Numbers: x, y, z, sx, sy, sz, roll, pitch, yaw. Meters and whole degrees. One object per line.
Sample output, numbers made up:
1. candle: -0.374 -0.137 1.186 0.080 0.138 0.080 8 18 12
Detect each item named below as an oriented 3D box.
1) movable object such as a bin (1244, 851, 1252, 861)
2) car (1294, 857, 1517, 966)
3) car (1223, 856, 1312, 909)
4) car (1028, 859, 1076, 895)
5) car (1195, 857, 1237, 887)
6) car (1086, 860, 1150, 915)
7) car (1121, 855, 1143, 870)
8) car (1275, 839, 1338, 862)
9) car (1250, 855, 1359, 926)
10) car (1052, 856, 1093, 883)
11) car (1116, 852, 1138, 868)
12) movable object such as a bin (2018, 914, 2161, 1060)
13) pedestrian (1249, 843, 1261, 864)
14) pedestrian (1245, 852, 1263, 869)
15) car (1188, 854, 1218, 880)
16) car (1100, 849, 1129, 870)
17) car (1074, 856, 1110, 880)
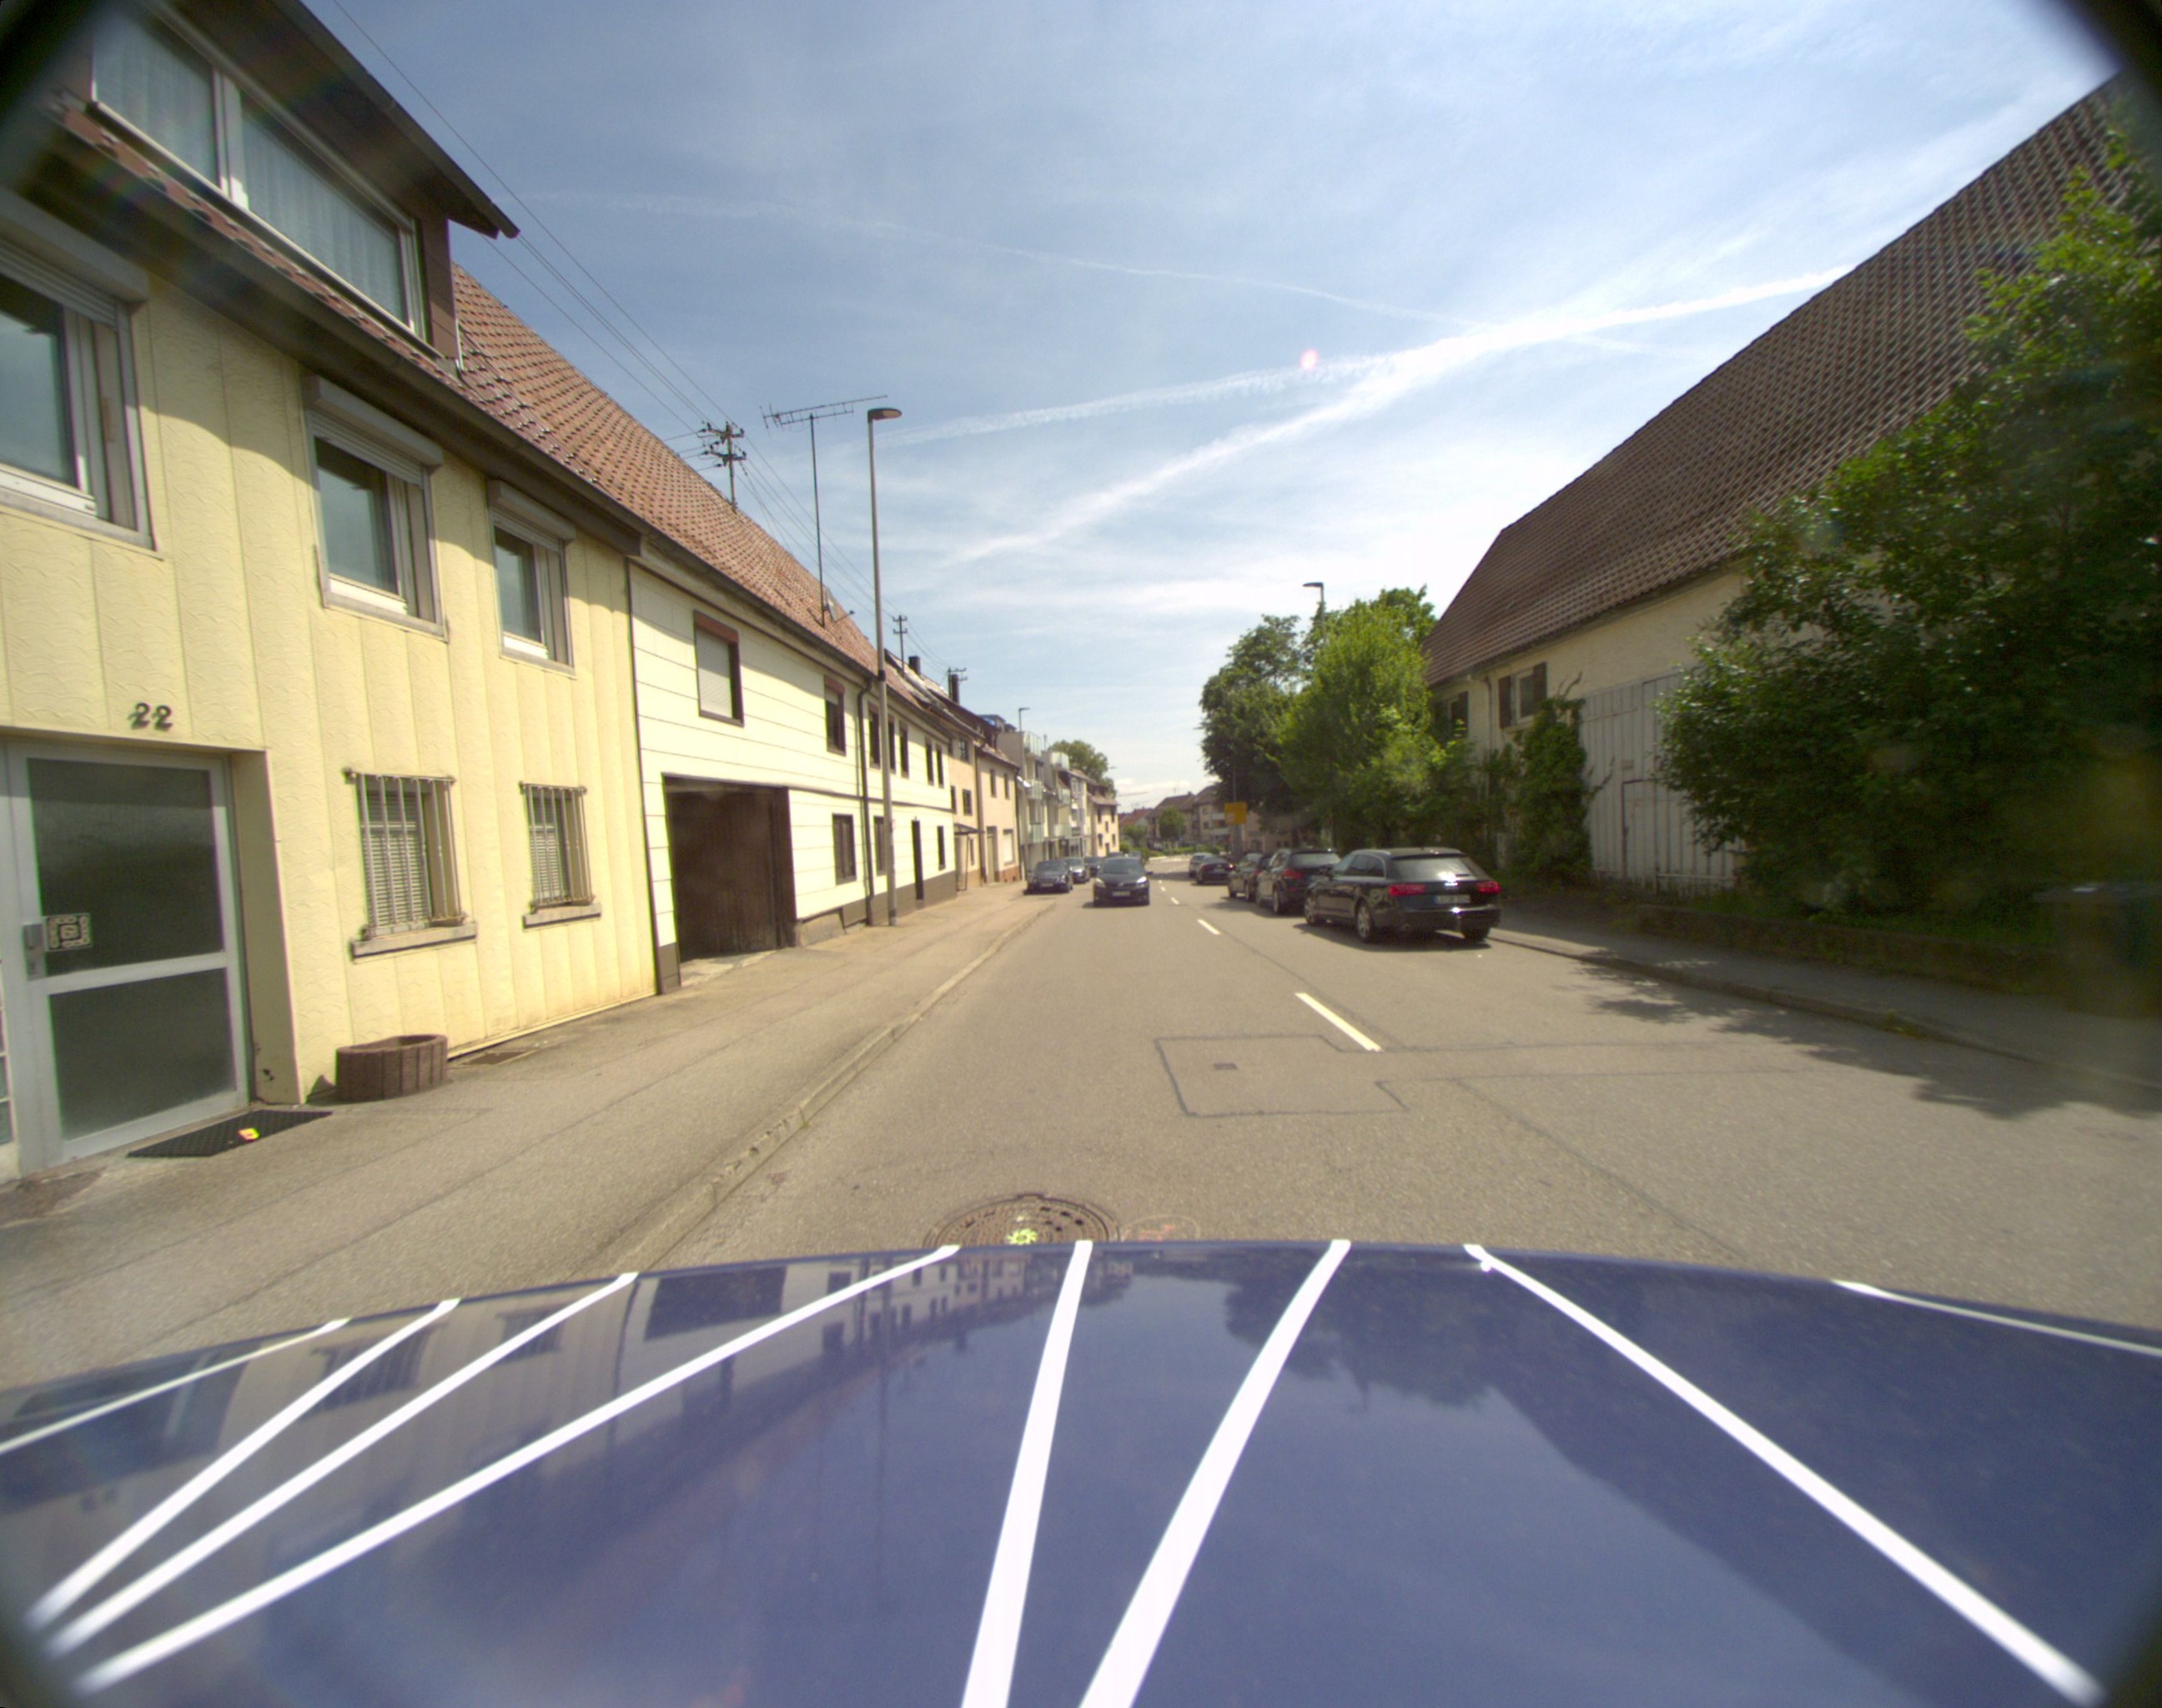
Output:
1. movable object such as a bin: 17.760 0.224 80.815 0.802 0.994 0.805 -4 1 12
2. car: 5.178 0.809 12.961 1.823 1.465 4.776 -1 0 1
3. car: 5.731 0.820 23.952 1.793 1.455 4.712 -1 0 2
4. car: -1.163 0.947 32.499 1.670 1.345 4.187 -2 0 2
5. car: 6.691 0.862 38.082 1.808 1.415 4.930 -1 0 7
6. car: 1.160 0.942 23.410 1.725 1.448 4.430 -2 0 3
7. car: 5.449 0.882 81.080 1.792 1.412 4.361 -2 0 11
8. car: 19.675 -0.315 66.388 4.790 1.471 1.998 -5 1 -9
9. car: 5.365 0.805 18.768 1.759 1.512 4.302 -1 0 5
10. car: -0.394 0.825 41.910 1.797 1.394 4.413 0 0 5
11. car: 4.601 0.549 75.391 1.792 1.447 4.719 -2 0 8
12. movable object such as a bin: 7.274 0.919 5.405 0.502 0.897 0.585 -3 2 -4
13. pedestrian: 13.767 -0.038 60.104 0.732 1.607 0.629 -3 1 -10
14. pedestrian: 13.306 0.491 58.428 1.238 1.262 0.647 -3 1 14
15. car: 7.959 0.803 49.300 1.775 1.518 4.225 0 1 11
16. car: 2.947 0.432 65.546 1.957 1.706 4.719 -2 0 8
17. car: 0.791 0.882 50.339 1.800 1.416 4.292 -1 1 9
